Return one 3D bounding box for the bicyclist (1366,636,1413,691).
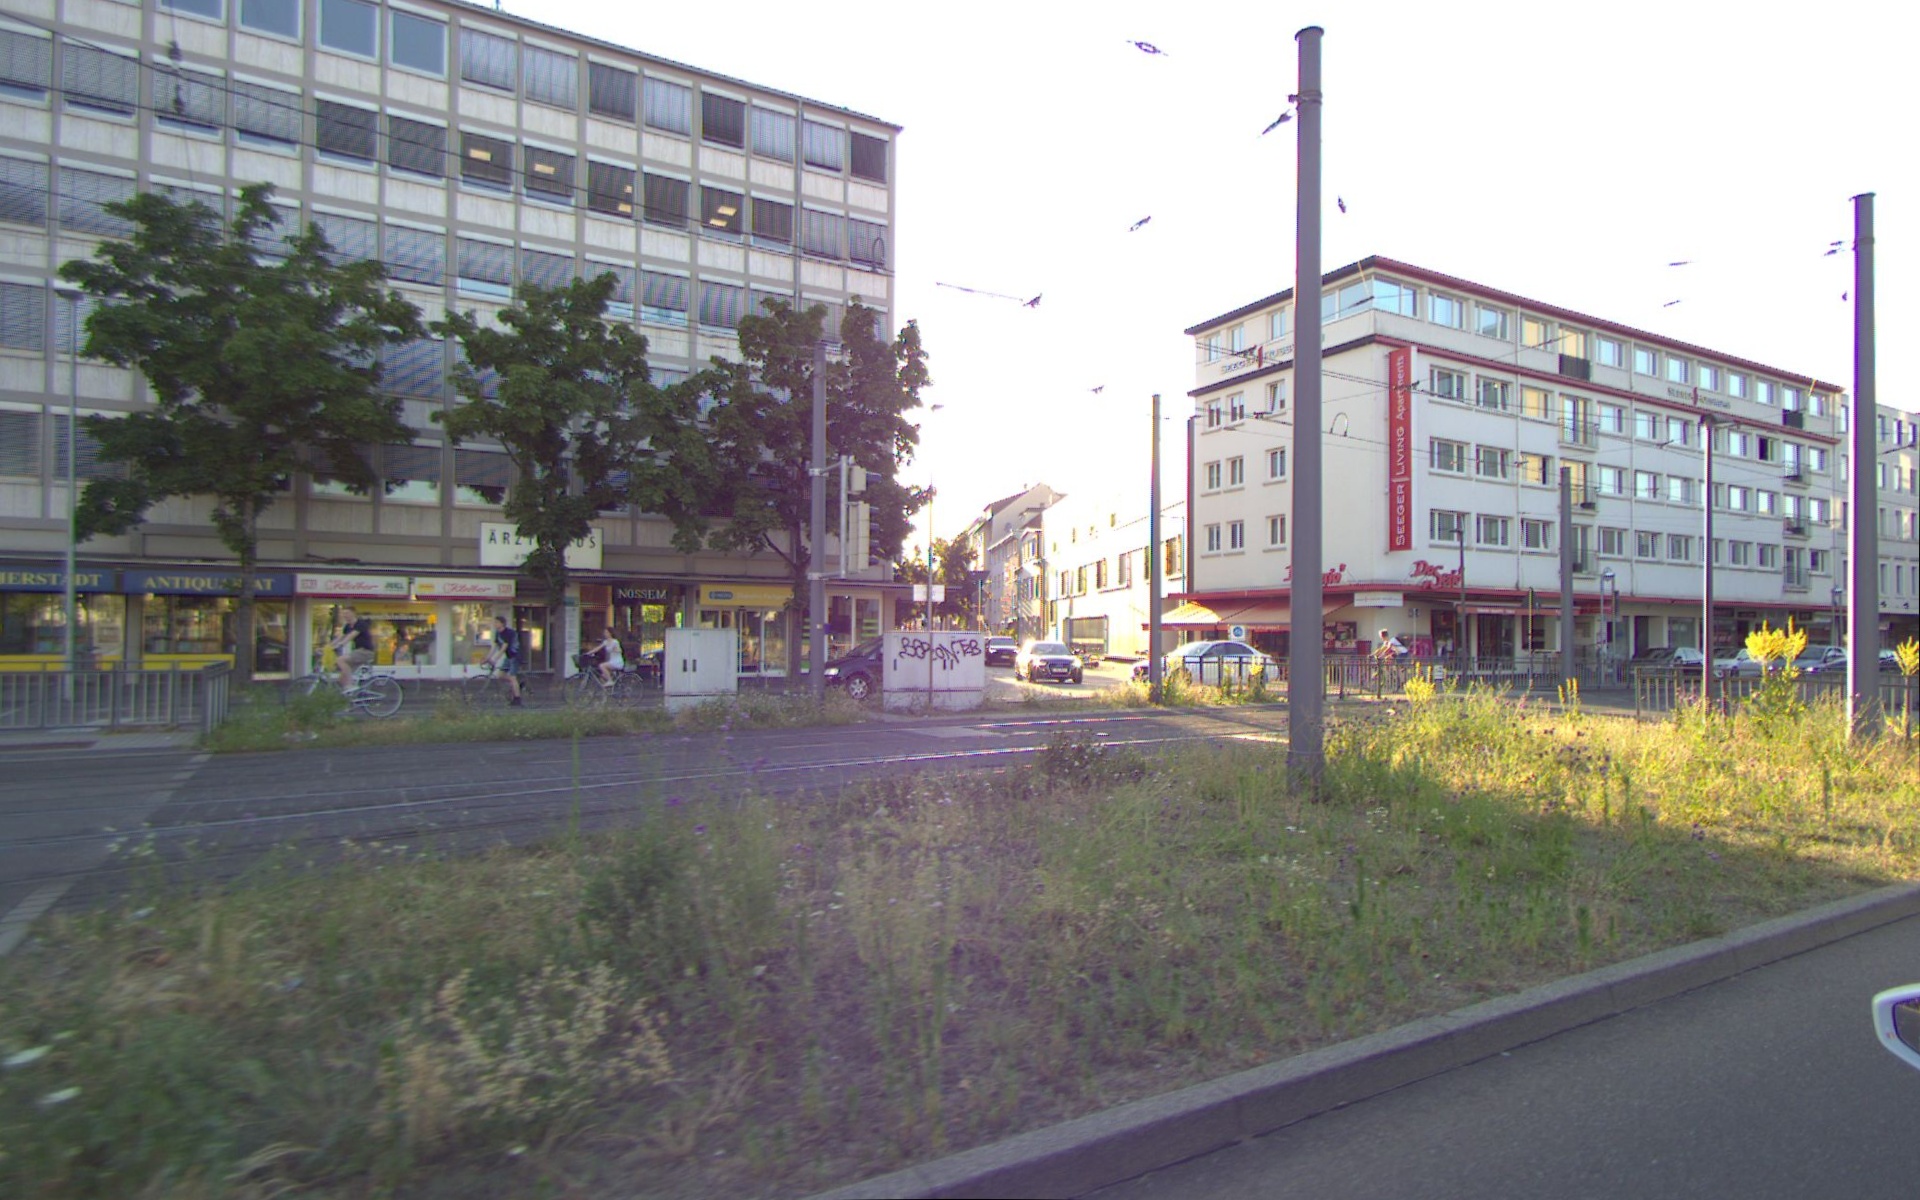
[{"bbox_3d":[11.665,1.714,27.305,0.913,1.460,0.835,1,-2,-4],"label":"bicyclist"}]

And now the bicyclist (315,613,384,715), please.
[{"bbox_3d":[-10.109,1.044,16.644,0.725,1.633,0.698,-1,-2,33],"label":"bicyclist"}]

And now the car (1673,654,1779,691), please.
[{"bbox_3d":[33.857,3.172,44.394,4.344,1.484,1.987,2,-2,-26],"label":"car"}]

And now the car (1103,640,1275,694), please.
[{"bbox_3d":[6.654,1.922,29.155,4.599,1.459,2.028,1,-4,-26],"label":"car"}]

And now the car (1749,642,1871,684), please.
[{"bbox_3d":[34.221,2.507,40.448,4.222,1.580,2.192,2,-2,-25],"label":"car"}]

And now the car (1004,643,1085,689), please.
[{"bbox_3d":[2.910,2.291,35.508,1.706,1.454,4.364,1,-2,-11],"label":"car"}]

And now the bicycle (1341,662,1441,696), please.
[{"bbox_3d":[11.681,2.150,27.287,2.376,0.858,0.846,1,-2,-4],"label":"bicycle"}]

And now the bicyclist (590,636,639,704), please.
[{"bbox_3d":[-7.171,1.440,20.879,0.705,1.387,0.681,-1,-2,40],"label":"bicyclist"}]

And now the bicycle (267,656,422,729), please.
[{"bbox_3d":[-10.127,1.488,16.617,0.744,1.090,2.053,-1,-2,33],"label":"bicycle"}]

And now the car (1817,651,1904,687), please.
[{"bbox_3d":[46.092,3.503,51.400,3.947,1.687,1.987,2,-2,-26],"label":"car"}]

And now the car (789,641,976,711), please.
[{"bbox_3d":[-1.933,1.863,25.220,4.252,1.594,1.984,2,-2,-30],"label":"car"}]

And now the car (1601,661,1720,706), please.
[{"bbox_3d":[29.020,3.406,41.586,4.776,1.687,1.987,2,-2,-26],"label":"car"}]

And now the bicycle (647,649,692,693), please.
[{"bbox_3d":[-8.212,1.985,28.336,0.660,1.155,1.728,2,-2,-36],"label":"bicycle"}]

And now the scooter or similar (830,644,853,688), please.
[{"bbox_3d":[-3.674,2.027,31.225,0.504,1.339,1.281,0,-2,1],"label":"scooter or similar"}]

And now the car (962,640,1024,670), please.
[{"bbox_3d":[1.879,3.171,58.202,1.861,1.594,4.223,2,-2,-25],"label":"car"}]

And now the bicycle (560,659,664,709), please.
[{"bbox_3d":[-7.194,1.717,20.859,0.713,0.942,1.945,-1,-2,40],"label":"bicycle"}]

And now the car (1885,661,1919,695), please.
[{"bbox_3d":[51.773,4.182,53.620,4.577,1.687,1.987,2,-1,-26],"label":"car"}]
